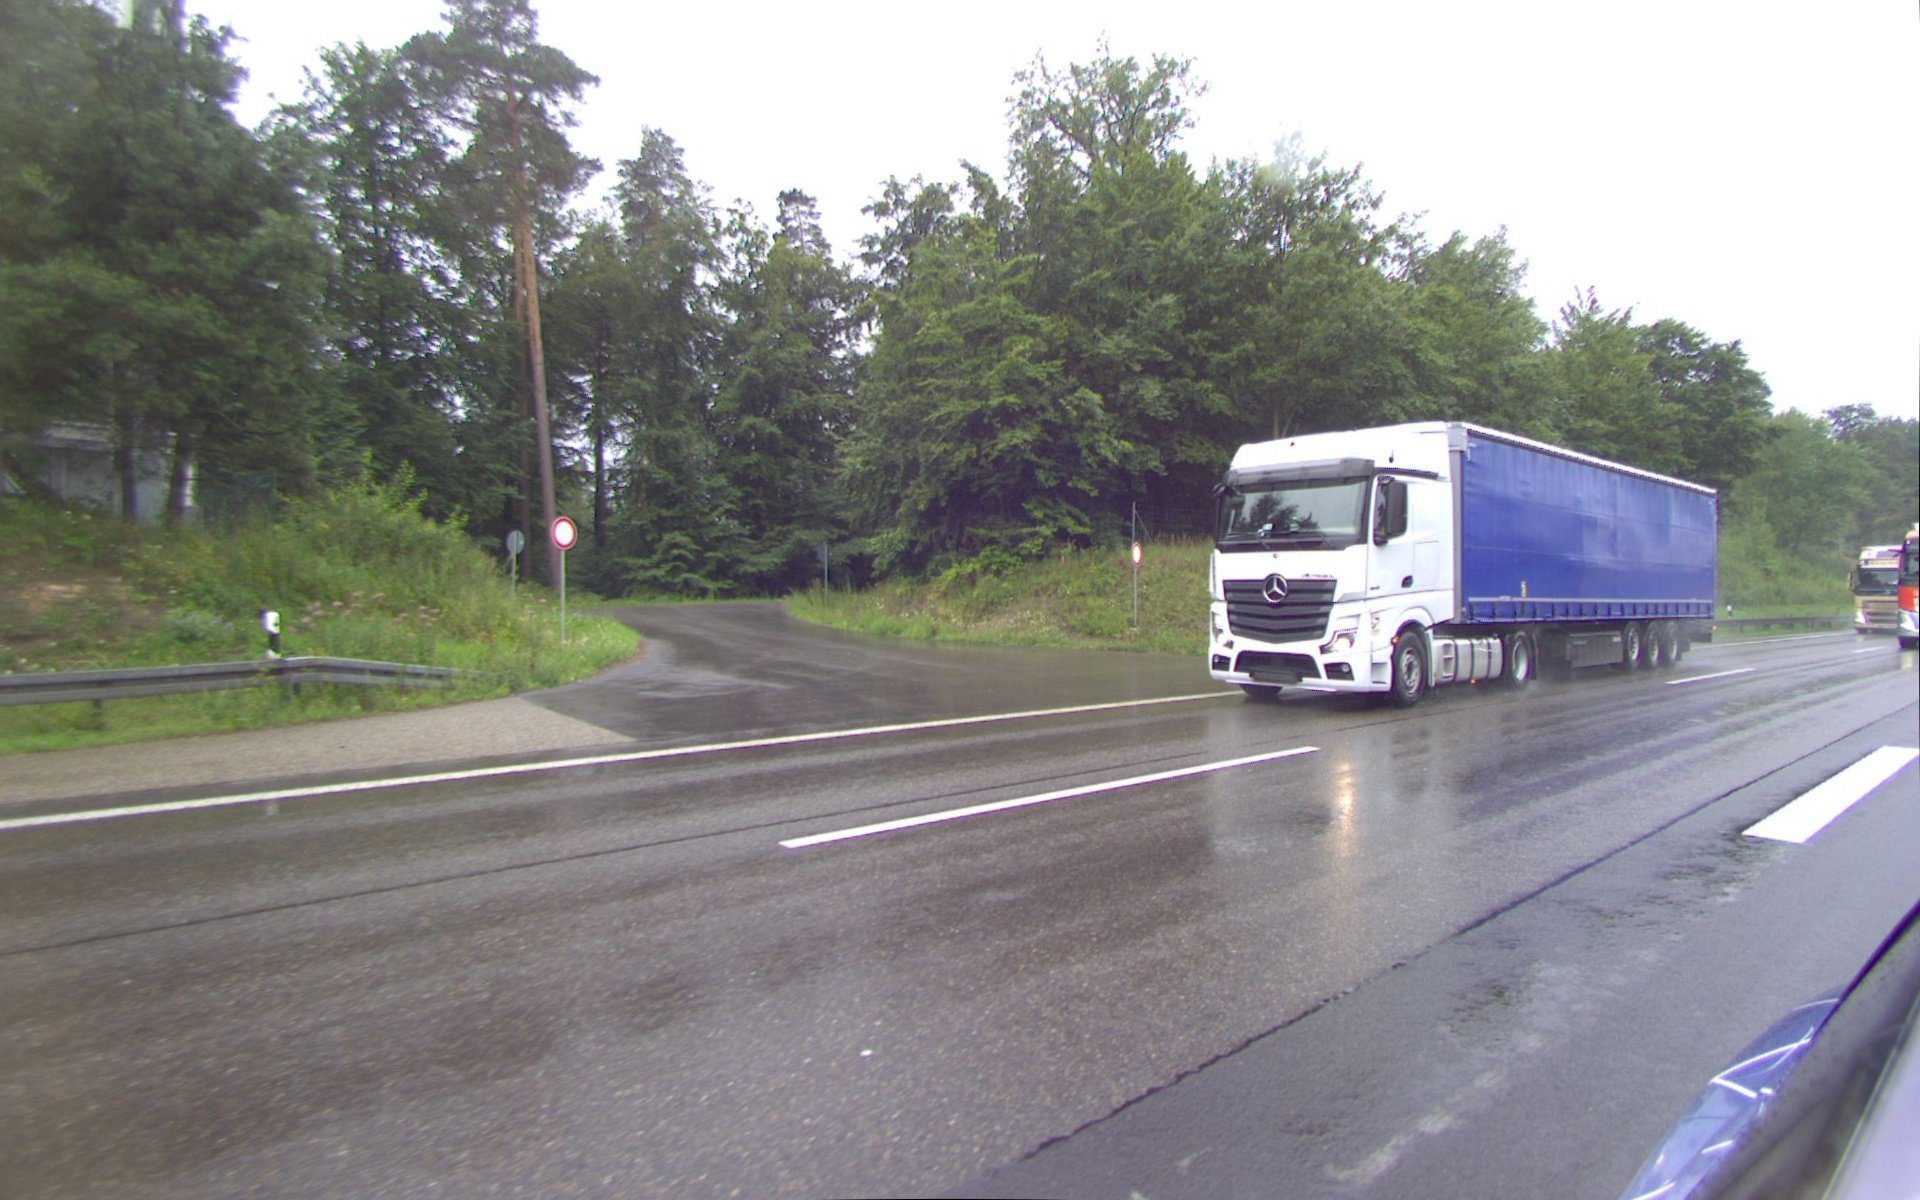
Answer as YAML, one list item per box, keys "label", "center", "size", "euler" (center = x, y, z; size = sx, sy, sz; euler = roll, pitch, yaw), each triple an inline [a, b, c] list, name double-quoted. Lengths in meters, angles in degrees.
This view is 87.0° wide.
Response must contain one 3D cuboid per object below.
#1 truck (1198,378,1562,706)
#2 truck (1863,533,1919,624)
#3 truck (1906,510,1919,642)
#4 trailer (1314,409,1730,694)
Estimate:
- label: "truck"
  center: [6.557, -0.721, 15.427]
  size: [5.905, 4.065, 2.606]
  euler: [0, -1, -40]
- label: "truck"
  center: [45.558, -0.966, 48.166]
  size: [9.765, 4.007, 2.606]
  euler: [0, 0, -41]
- label: "truck"
  center: [31.976, -0.745, 31.784]
  size: [5.500, 4.007, 2.607]
  euler: [0, 0, -39]
- label: "trailer"
  center: [11.681, -0.745, 19.783]
  size: [13.472, 4.064, 2.558]
  euler: [0, 0, -40]
